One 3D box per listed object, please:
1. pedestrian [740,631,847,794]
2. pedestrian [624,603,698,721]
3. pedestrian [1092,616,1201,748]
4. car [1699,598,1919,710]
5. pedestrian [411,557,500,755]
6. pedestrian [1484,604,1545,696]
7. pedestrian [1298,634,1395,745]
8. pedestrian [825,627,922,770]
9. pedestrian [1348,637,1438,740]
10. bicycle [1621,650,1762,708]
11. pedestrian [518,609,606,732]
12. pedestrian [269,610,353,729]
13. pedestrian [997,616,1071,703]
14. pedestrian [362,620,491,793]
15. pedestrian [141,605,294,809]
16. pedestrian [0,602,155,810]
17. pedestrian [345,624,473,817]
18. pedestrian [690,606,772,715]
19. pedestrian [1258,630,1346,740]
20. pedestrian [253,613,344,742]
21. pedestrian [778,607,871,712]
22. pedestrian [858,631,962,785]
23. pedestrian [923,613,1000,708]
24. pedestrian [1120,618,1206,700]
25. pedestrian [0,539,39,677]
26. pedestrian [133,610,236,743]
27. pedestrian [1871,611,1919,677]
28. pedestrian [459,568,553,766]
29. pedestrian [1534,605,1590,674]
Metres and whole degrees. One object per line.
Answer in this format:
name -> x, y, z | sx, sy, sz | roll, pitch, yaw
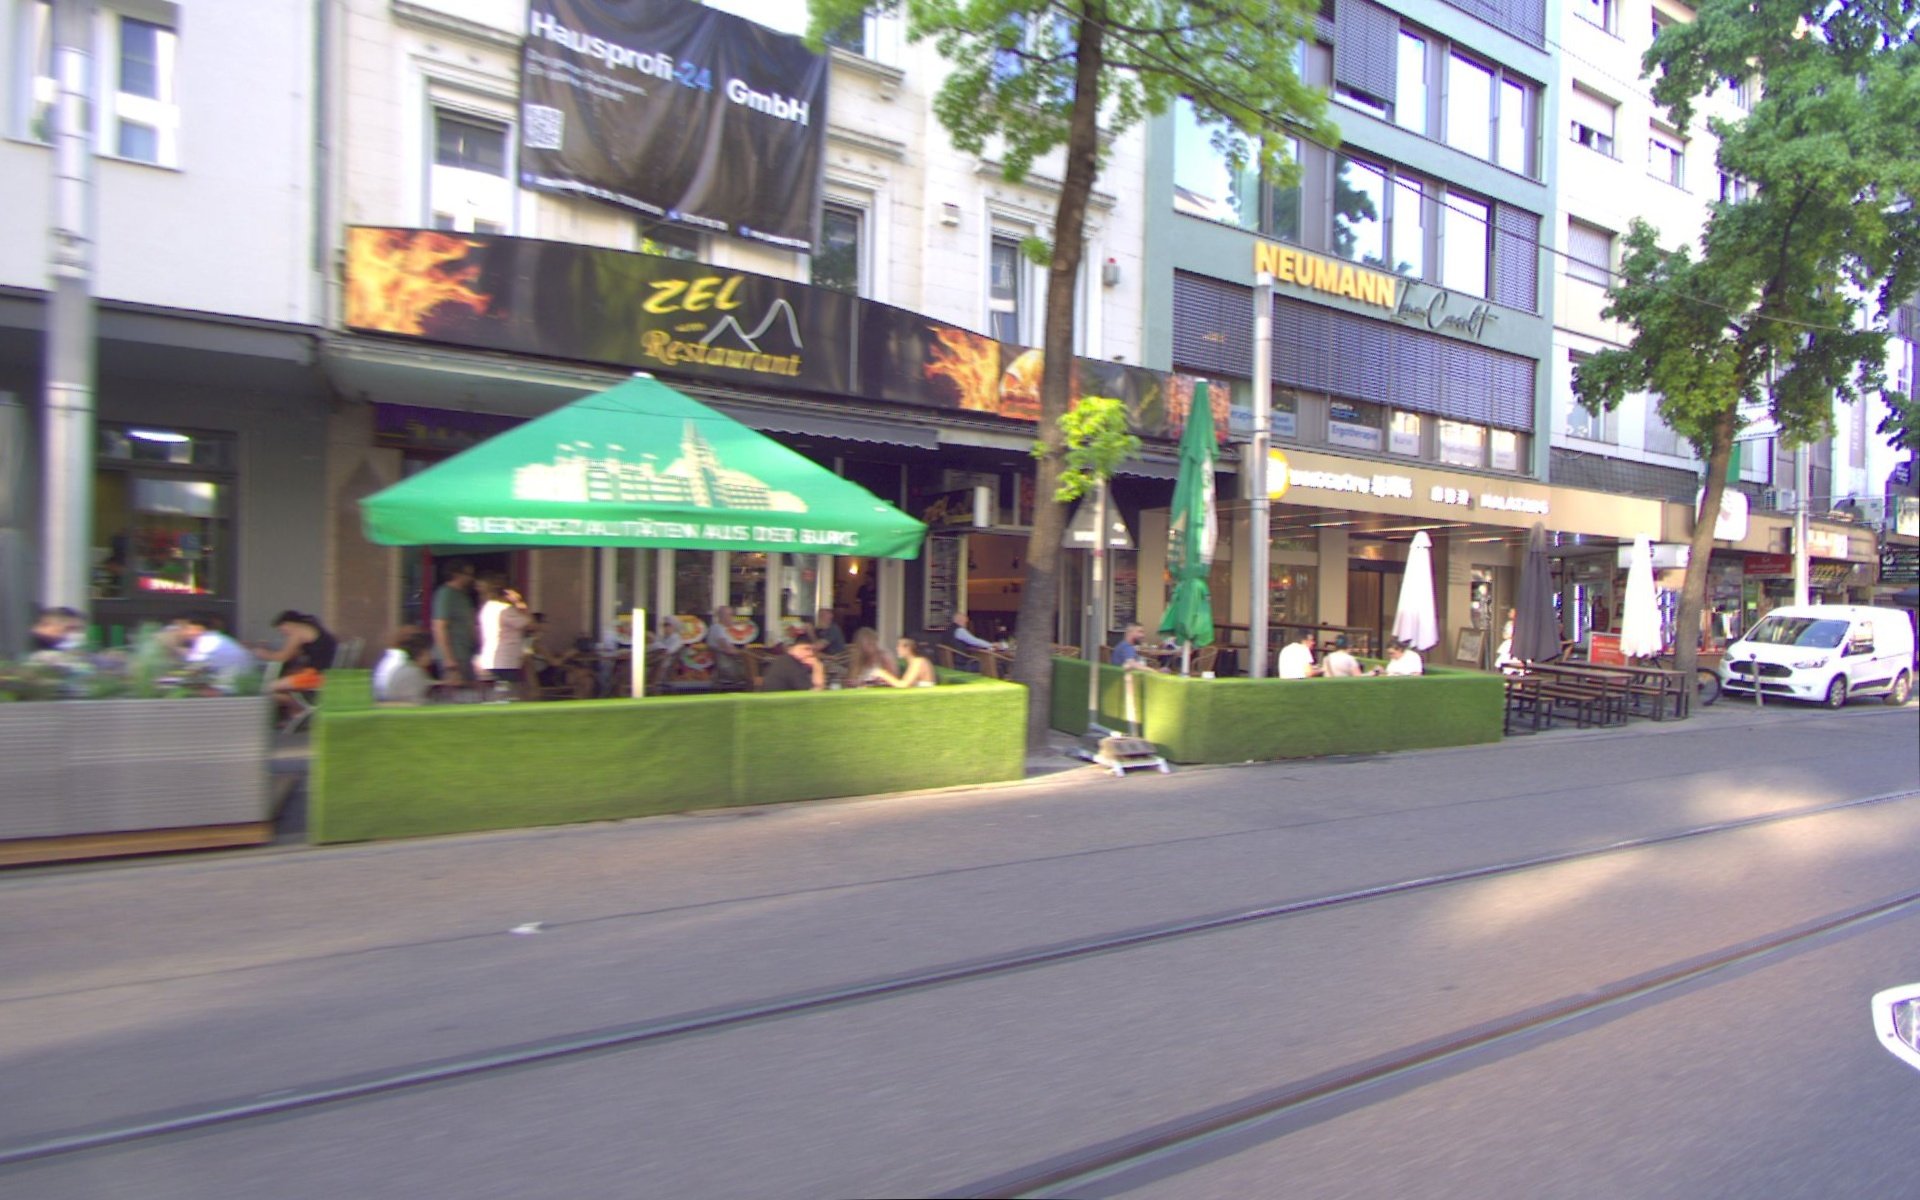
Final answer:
pedestrian -> -1.416, 0.923, 8.519 | 0.689, 1.262, 0.616 | 1, 3, -30
pedestrian -> -3.573, 0.725, 11.984 | 0.689, 1.327, 0.616 | 1, 3, -30
pedestrian -> 2.085, 0.893, 11.278 | 0.862, 1.361, 0.750 | 1, 3, -30
car -> 16.502, 0.986, 19.425 | 4.498, 1.890, 1.787 | 1, 2, -29
pedestrian -> -4.747, 0.498, 9.456 | 0.688, 1.780, 0.675 | 1, 1, -28
pedestrian -> 10.100, 0.897, 18.305 | 0.692, 1.595, 0.644 | 1, 2, -30
pedestrian -> 4.749, 1.073, 12.356 | 0.862, 1.261, 0.653 | 1, 3, -30
pedestrian -> -0.833, 0.917, 9.607 | 0.689, 1.262, 0.616 | 1, 3, -30
pedestrian -> 5.498, 1.098, 12.763 | 0.788, 1.209, 0.653 | 1, 3, -30
bicycle -> 13.083, 1.399, 18.012 | 1.822, 0.876, 0.837 | 2, 2, 9
pedestrian -> -4.336, 0.743, 10.936 | 0.789, 1.259, 0.666 | 1, 1, -30
pedestrian -> -6.784, 0.713, 10.521 | 0.679, 1.173, 0.599 | 1, 1, -29
pedestrian -> 1.072, 0.850, 14.691 | 0.779, 1.184, 0.696 | 1, 3, -30
pedestrian -> -4.267, 0.820, 8.080 | 0.858, 1.276, 0.705 | 1, 1, -27
pedestrian -> -5.396, 0.743, 7.352 | 0.771, 1.365, 0.705 | 1, 1, -27
pedestrian -> -6.159, 0.698, 6.944 | 0.797, 1.329, 0.686 | 1, 1, -29
pedestrian -> -3.976, 0.835, 7.297 | 0.762, 1.276, 0.705 | 1, 1, -27
pedestrian -> -2.843, 0.729, 12.443 | 0.779, 1.248, 0.733 | 1, 3, -30
pedestrian -> 4.396, 1.072, 12.931 | 0.788, 1.310, 0.653 | 1, 3, -30
pedestrian -> -6.492, 0.742, 9.891 | 0.679, 1.190, 0.599 | 1, 1, -29
pedestrian -> -1.761, 0.749, 13.034 | 0.934, 1.254, 0.773 | 1, 3, -30
pedestrian -> -0.452, 0.933, 8.967 | 0.689, 1.262, 0.616 | 1, 3, -30
pedestrian -> 0.015, 0.821, 13.981 | 0.779, 1.230, 0.733 | 1, 3, -30
pedestrian -> 3.206, 0.915, 15.906 | 1.052, 1.204, 0.749 | 1, 3, -30
pedestrian -> -8.513, 0.055, 8.686 | 0.678, 1.177, 0.550 | 1, 1, -29
pedestrian -> -7.323, 0.704, 9.509 | 0.678, 1.177, 0.550 | 1, 1, -29
pedestrian -> 25.263, 1.174, 27.109 | 0.993, 1.708, 0.663 | 1, 2, -30
pedestrian -> -4.095, 0.574, 9.055 | 0.689, 1.693, 0.616 | 1, 2, -30
pedestrian -> 13.786, 0.892, 22.997 | 0.756, 1.486, 0.765 | 1, 3, -32
